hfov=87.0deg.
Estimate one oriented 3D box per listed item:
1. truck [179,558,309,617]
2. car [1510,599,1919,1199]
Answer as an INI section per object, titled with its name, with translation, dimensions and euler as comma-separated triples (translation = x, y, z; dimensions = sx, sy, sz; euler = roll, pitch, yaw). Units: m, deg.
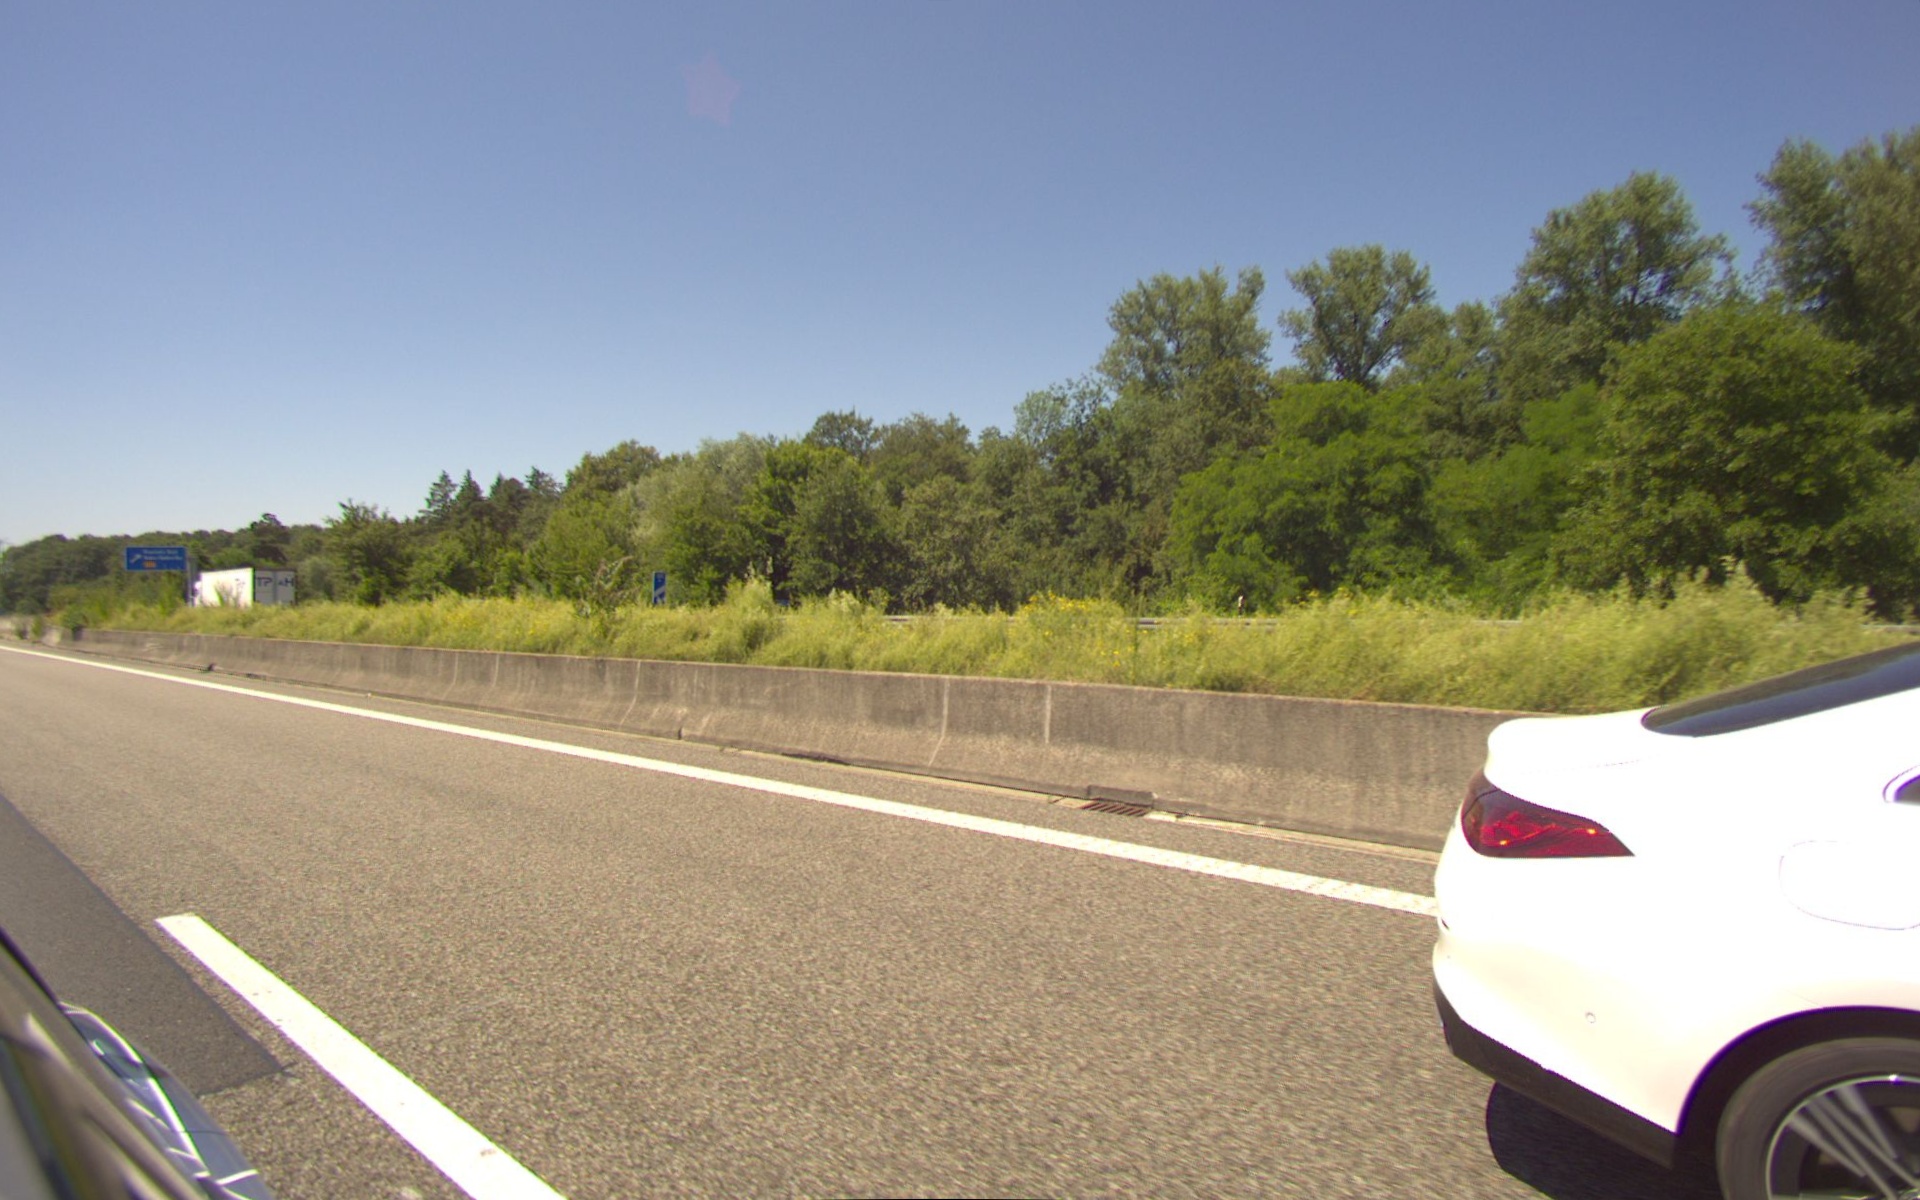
[truck]
translation = -52.442, -0.769, 73.737
dimensions = 17.473, 3.763, 3.561
euler = -1, 0, 41
[car]
translation = 3.706, 0.689, 1.186
dimensions = 5.106, 1.459, 1.748
euler = -2, -3, 41
